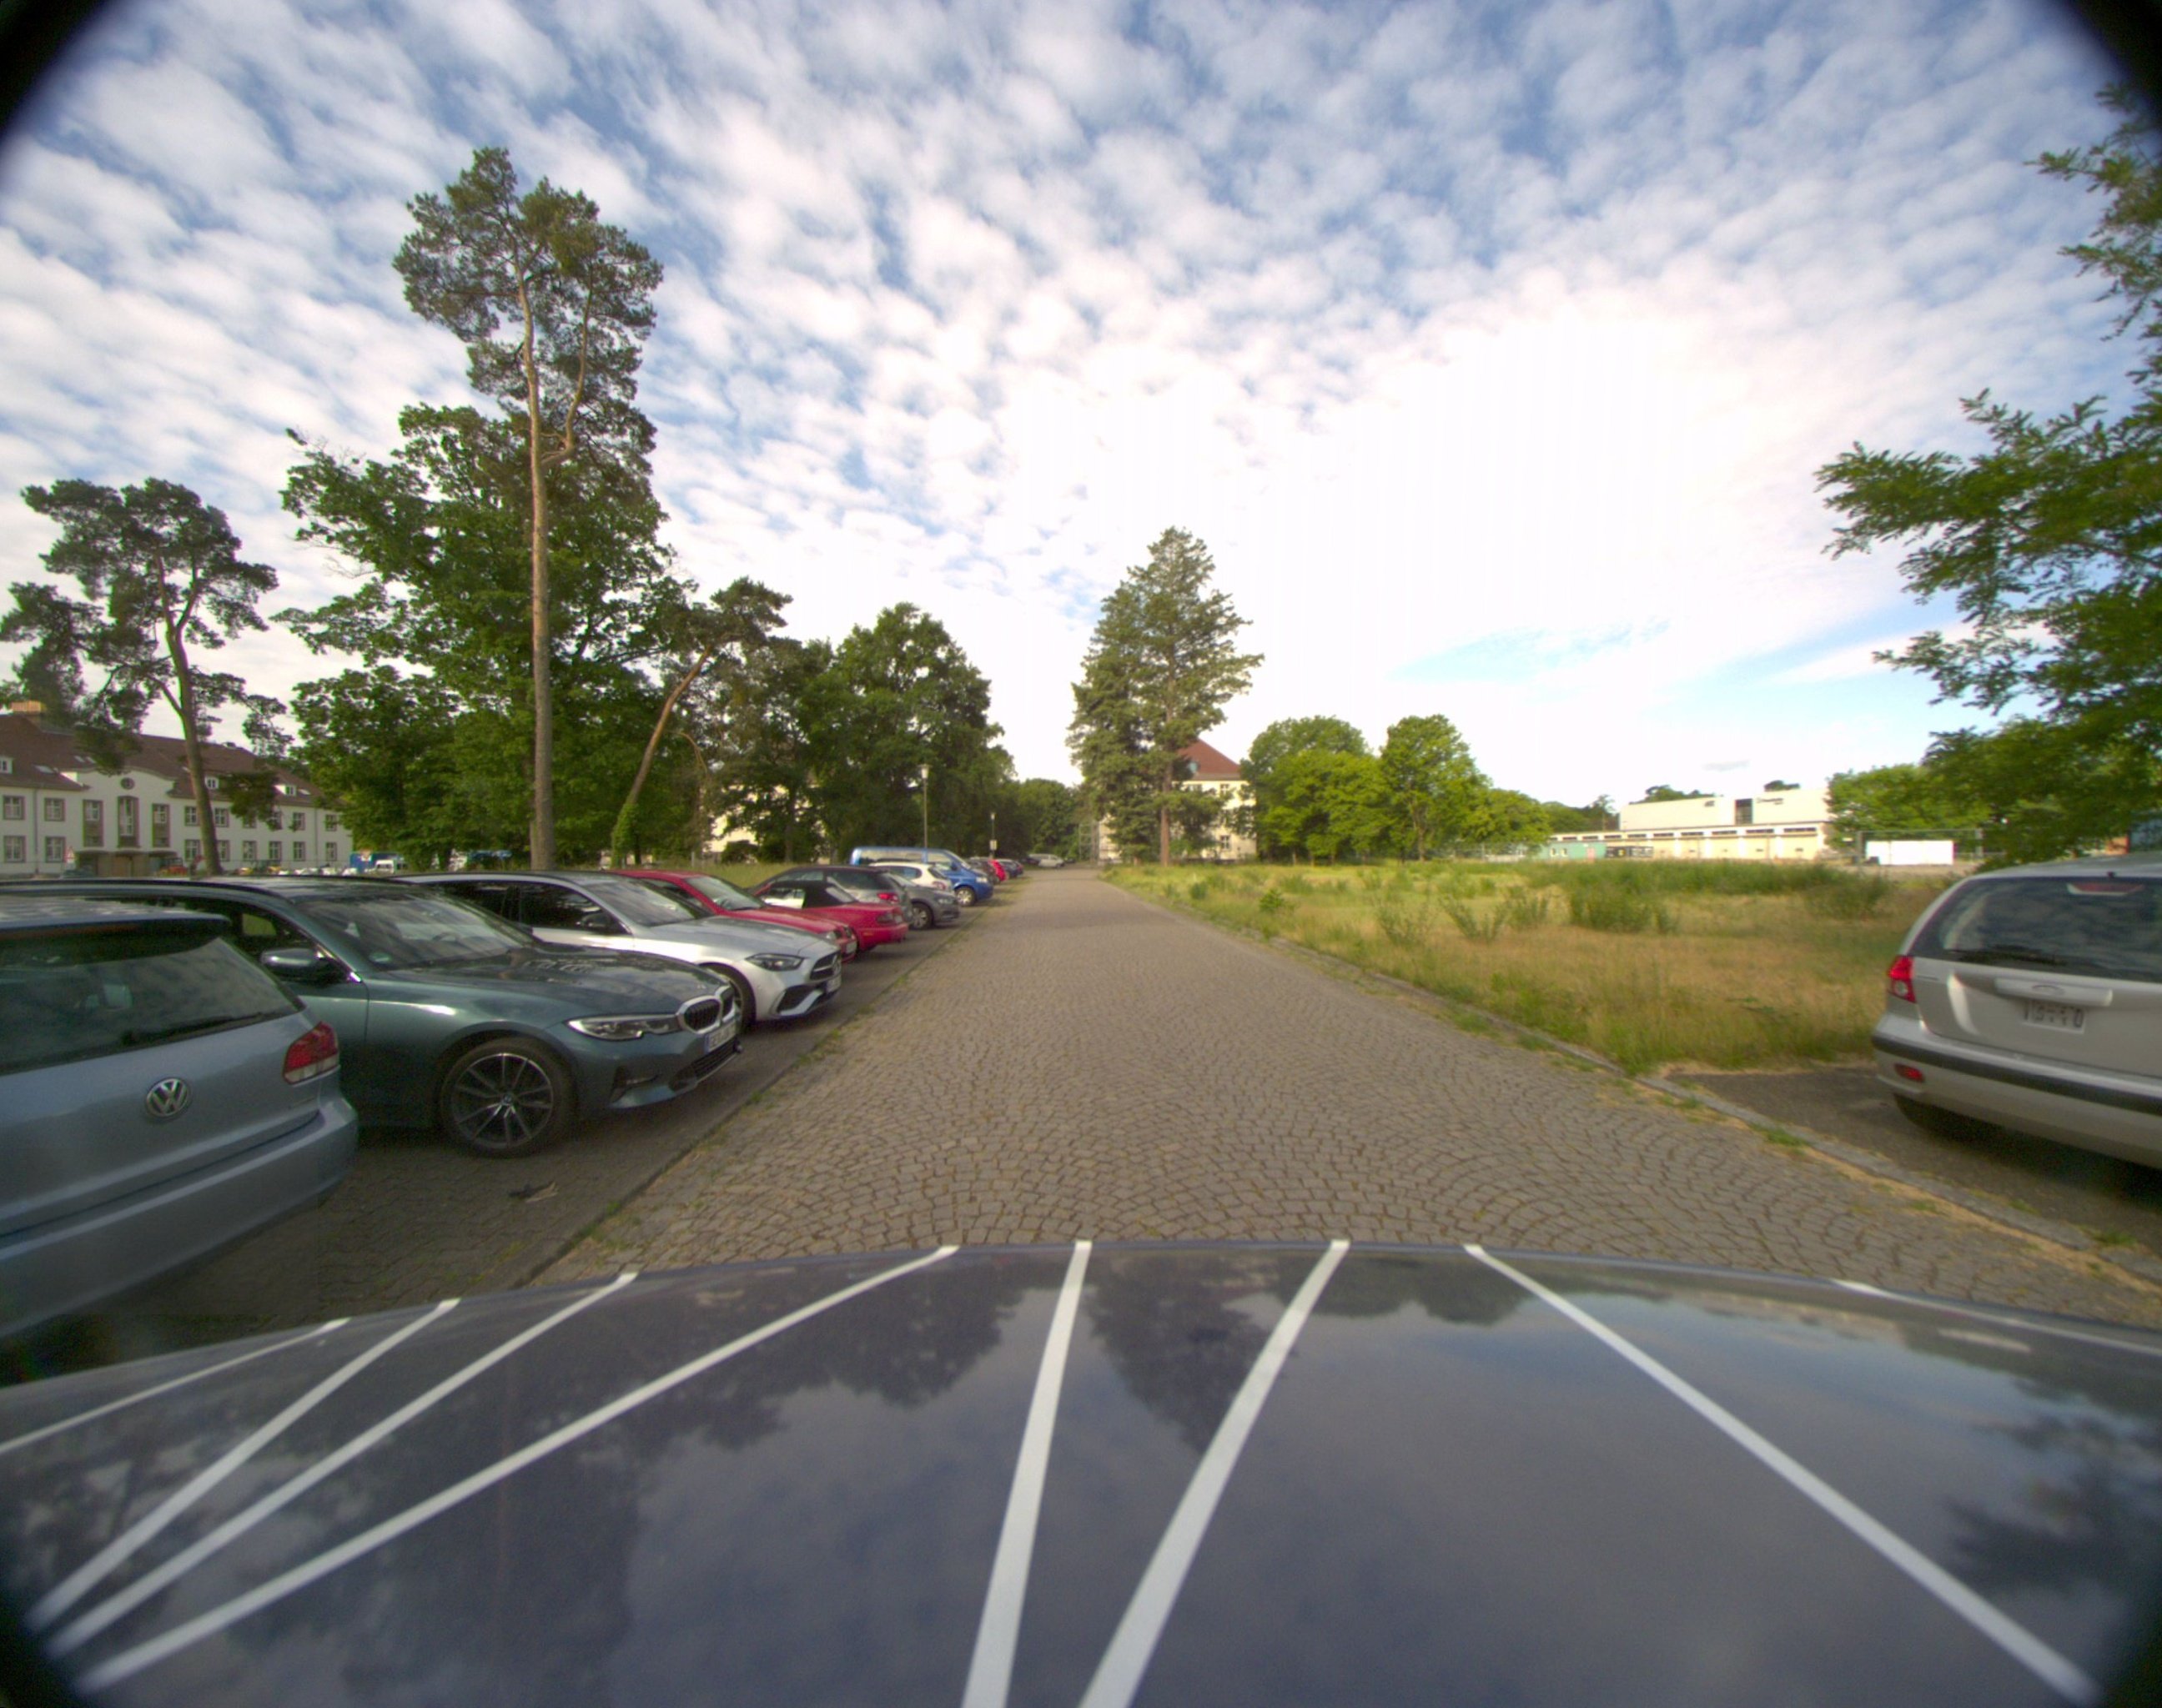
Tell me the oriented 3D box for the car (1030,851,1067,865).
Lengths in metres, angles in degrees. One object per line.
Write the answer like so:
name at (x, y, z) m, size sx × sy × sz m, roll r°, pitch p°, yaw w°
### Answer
car at (-4.645, 0.555, 108.759) m, size 5.131 × 2.002 × 1.804 m, roll -1°, pitch 0°, yaw -4°

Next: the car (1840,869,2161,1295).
car at (5.785, 0.821, 3.240) m, size 3.587 × 1.467 × 1.646 m, roll -3°, pitch 1°, yaw -5°

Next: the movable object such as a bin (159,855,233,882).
movable object such as a bin at (-93.354, 1.494, 80.254) m, size 2.000 × 2.752 × 5.200 m, roll -1°, pitch 0°, yaw -7°

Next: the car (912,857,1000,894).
car at (-5.614, 0.955, 34.420) m, size 3.839 × 1.592 × 1.580 m, roll -1°, pitch 0°, yaw -6°

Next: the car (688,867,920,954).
car at (-5.168, 1.026, 14.555) m, size 3.838 × 1.494 × 1.604 m, roll -1°, pitch 0°, yaw -2°

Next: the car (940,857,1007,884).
car at (-6.302, 0.938, 44.745) m, size 3.839 × 1.516 × 1.580 m, roll -1°, pitch 0°, yaw -6°

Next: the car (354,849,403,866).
car at (-85.037, 0.379, 92.070) m, size 2.219 × 2.002 × 3.999 m, roll -1°, pitch 0°, yaw -2°

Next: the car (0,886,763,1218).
car at (-4.575, 1.002, 4.593) m, size 4.526 × 1.474 × 1.807 m, roll -1°, pitch 0°, yaw -5°

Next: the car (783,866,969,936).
car at (-4.590, 1.036, 17.405) m, size 3.781 × 1.457 × 1.642 m, roll -1°, pitch 0°, yaw 0°

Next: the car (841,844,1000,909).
car at (-5.338, 0.721, 25.781) m, size 4.955 × 2.011 × 2.060 m, roll 1°, pitch 0°, yaw -1°

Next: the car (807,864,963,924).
car at (-5.173, 1.041, 20.361) m, size 3.762 × 1.490 × 1.581 m, roll -1°, pitch 0°, yaw 0°

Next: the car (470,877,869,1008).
car at (-5.010, 1.047, 9.700) m, size 4.118 × 1.415 × 1.719 m, roll -1°, pitch 0°, yaw -1°

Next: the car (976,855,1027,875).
car at (-6.232, 0.851, 59.820) m, size 3.837 × 1.520 × 1.674 m, roll -1°, pitch 0°, yaw 3°

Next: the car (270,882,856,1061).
car at (-4.572, 1.010, 7.283) m, size 4.338 × 1.420 × 1.766 m, roll 0°, pitch 0°, yaw -3°

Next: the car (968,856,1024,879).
car at (-6.179, 0.944, 55.244) m, size 3.837 × 1.609 × 1.581 m, roll -1°, pitch 0°, yaw 3°

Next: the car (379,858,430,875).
car at (-70.895, 1.289, 79.711) m, size 1.847 × 1.674 × 3.937 m, roll 1°, pitch 0°, yaw 1°

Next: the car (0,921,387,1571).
car at (-4.543, 1.011, 1.949) m, size 3.854 × 1.462 × 1.641 m, roll -1°, pitch 0°, yaw -4°

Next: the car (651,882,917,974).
car at (-4.538, 1.108, 11.972) m, size 3.555 × 1.279 × 1.608 m, roll -1°, pitch -1°, yaw -1°
